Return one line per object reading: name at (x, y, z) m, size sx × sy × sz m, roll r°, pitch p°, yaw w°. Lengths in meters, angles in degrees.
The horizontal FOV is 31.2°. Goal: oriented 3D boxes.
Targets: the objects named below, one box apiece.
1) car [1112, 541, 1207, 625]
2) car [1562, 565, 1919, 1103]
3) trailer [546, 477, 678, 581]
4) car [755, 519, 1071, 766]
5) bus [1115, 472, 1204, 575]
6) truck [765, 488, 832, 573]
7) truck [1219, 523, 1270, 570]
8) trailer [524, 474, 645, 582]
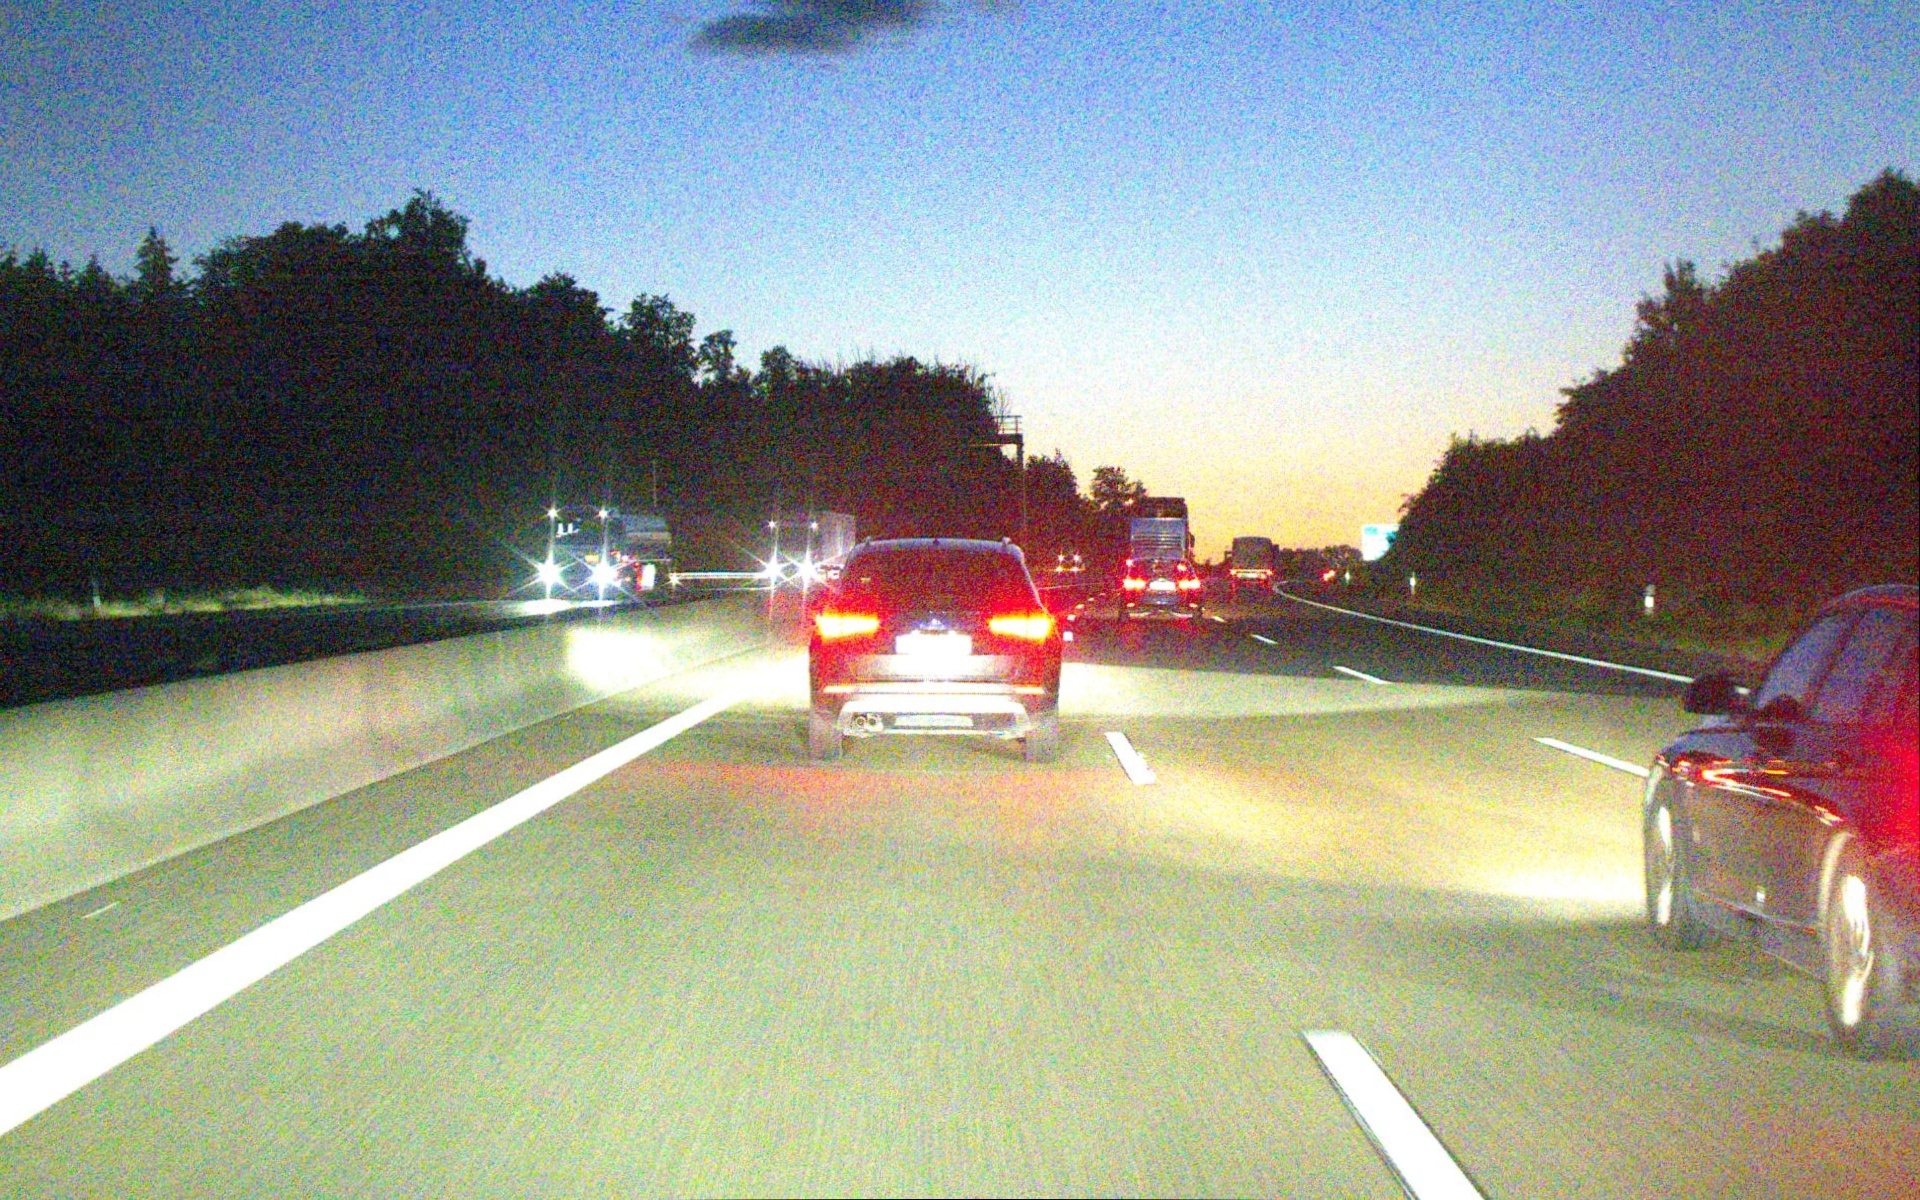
car at (4.388, -0.360, 76.089) m, size 1.911 × 1.724 × 4.000 m, roll 3°, pitch 0°, yaw 2°
car at (3.433, 0.612, 11.402) m, size 1.835 × 1.396 × 5.070 m, roll 0°, pitch 1°, yaw -2°
trailer at (-12.843, -2.594, 128.018) m, size 3.057 × 3.676 × 11.685 m, roll 1°, pitch 1°, yaw 3°
car at (-0.272, 0.238, 25.366) m, size 2.106 × 1.612 × 4.204 m, roll 1°, pitch 2°, yaw 1°
bus at (8.910, -3.270, 151.756) m, size 2.653 × 3.980 × 14.696 m, roll -2°, pitch -1°, yaw 8°
truck at (-8.541, -3.677, 182.445) m, size 2.852 × 4.418 × 6.396 m, roll 1°, pitch 1°, yaw 3°
truck at (18.601, -3.507, 225.145) m, size 2.546 × 3.005 × 9.053 m, roll 1°, pitch 1°, yaw 0°
trailer at (-13.209, -2.510, 121.574) m, size 3.057 × 3.676 × 7.228 m, roll 1°, pitch 1°, yaw 3°
